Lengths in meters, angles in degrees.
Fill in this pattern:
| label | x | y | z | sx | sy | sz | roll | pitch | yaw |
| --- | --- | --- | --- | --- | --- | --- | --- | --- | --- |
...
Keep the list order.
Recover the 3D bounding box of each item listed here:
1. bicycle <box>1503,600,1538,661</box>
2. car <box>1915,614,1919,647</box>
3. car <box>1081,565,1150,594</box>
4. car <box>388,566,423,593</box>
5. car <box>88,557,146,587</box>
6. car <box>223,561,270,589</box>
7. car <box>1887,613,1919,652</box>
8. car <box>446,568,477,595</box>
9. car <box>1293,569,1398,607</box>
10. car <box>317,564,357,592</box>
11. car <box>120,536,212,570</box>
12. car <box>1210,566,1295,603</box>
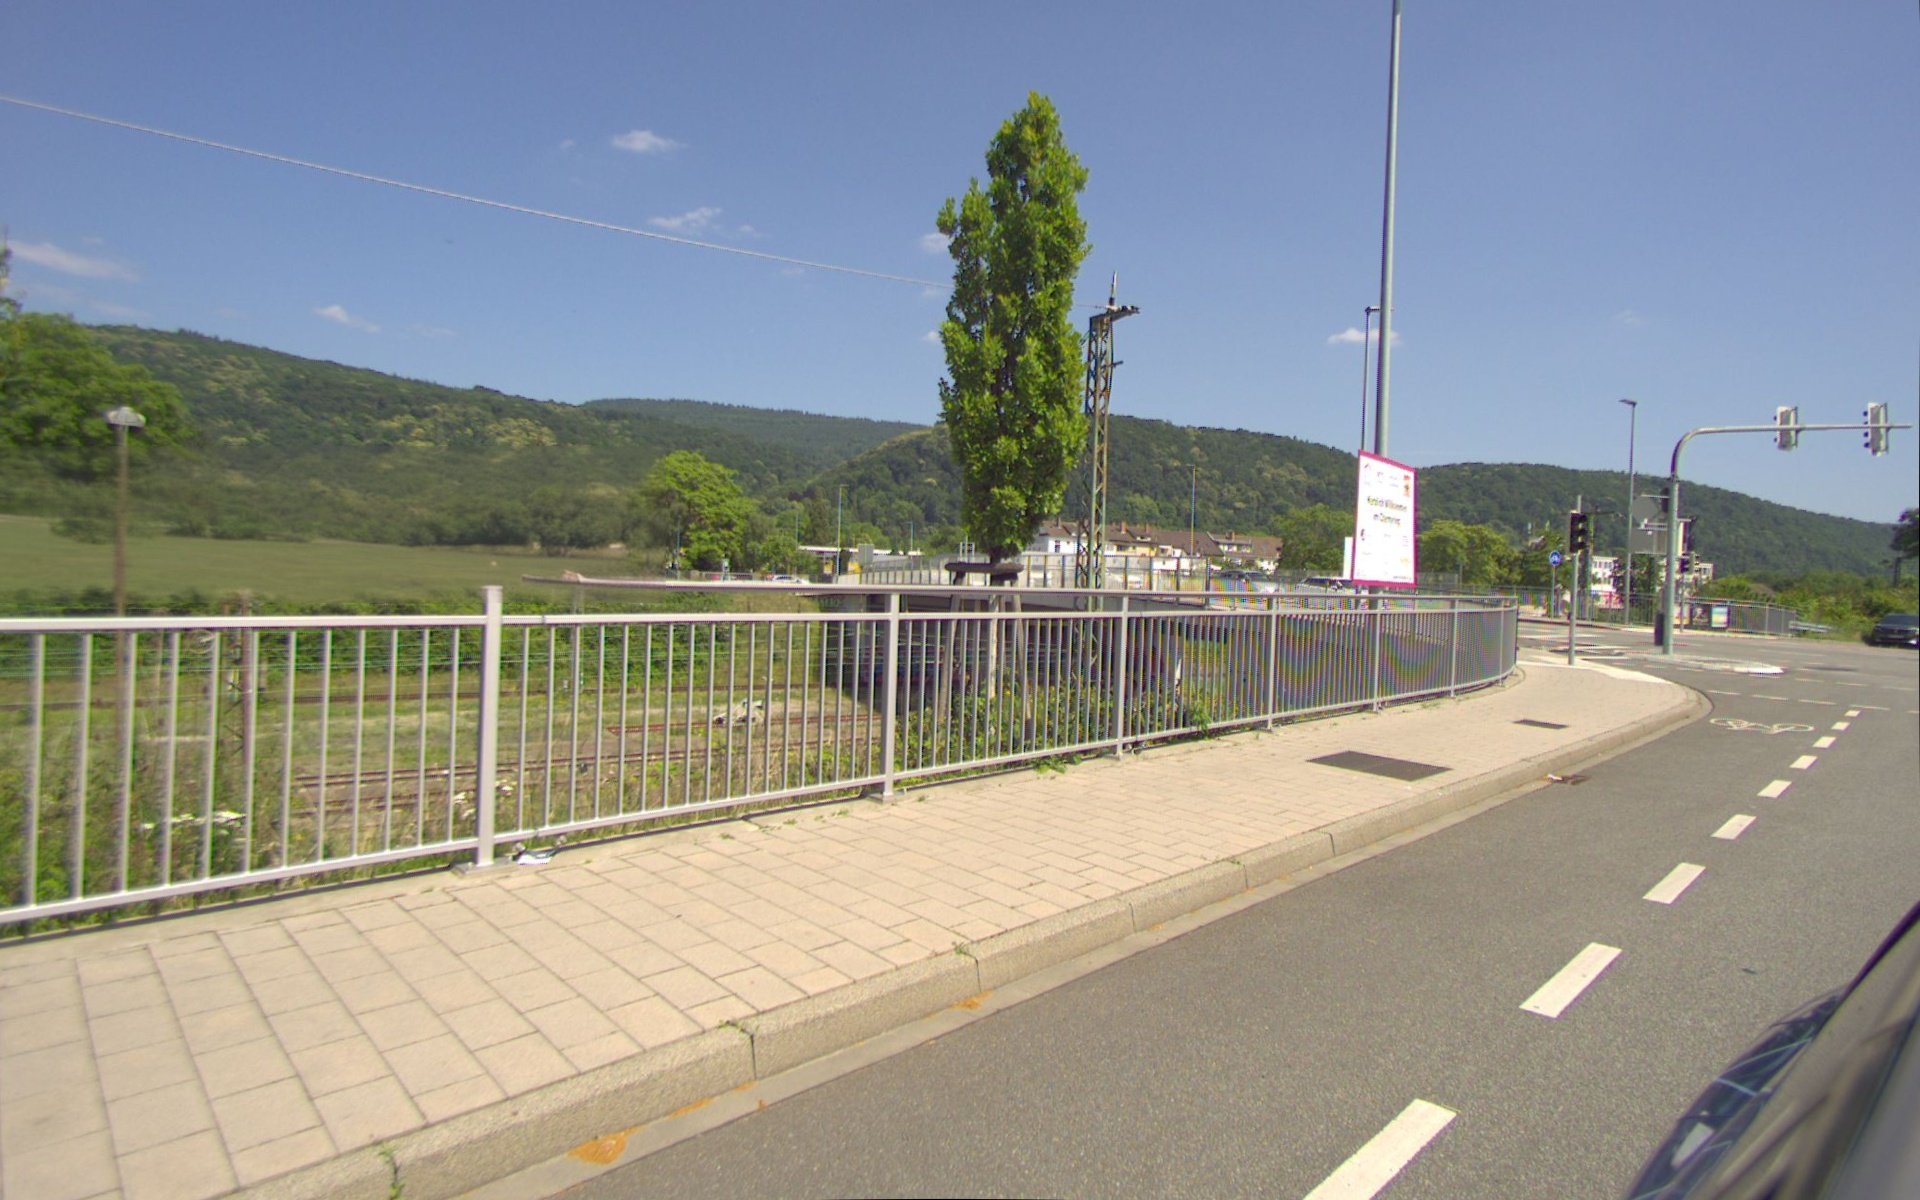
| label | x | y | z | sx | sy | sz | roll | pitch | yaw |
| --- | --- | --- | --- | --- | --- | --- | --- | --- | --- |
| bicycle | 11.000 | 0.580 | 19.895 | 0.294 | 1.114 | 1.610 | 2 | 1 | 20 |
| car | 46.970 | 1.500 | 48.116 | 3.927 | 1.552 | 1.672 | 1 | 2 | -39 |
| car | 9.275 | -1.253 | 60.716 | 1.702 | 1.646 | 4.448 | 1 | 2 | -30 |
| car | -44.156 | -1.655 | 80.644 | 1.958 | 2.038 | 4.480 | 1 | 1 | -23 |
| car | -61.448 | -2.079 | 73.858 | 1.958 | 2.038 | 4.480 | 1 | 1 | -23 |
| car | -54.930 | -1.960 | 78.006 | 1.958 | 2.038 | 4.480 | 1 | 1 | -23 |
| car | 42.962 | 1.439 | 45.120 | 4.161 | 1.647 | 1.829 | 1 | 2 | -40 |
| car | -40.350 | -1.557 | 81.975 | 1.958 | 2.038 | 4.480 | 1 | 1 | -23 |
| car | 16.518 | -0.557 | 43.579 | 1.700 | 1.487 | 4.421 | 1 | 2 | -20 |
| car | -48.605 | -1.768 | 79.058 | 1.958 | 2.038 | 4.480 | 1 | 1 | -23 |
| car | -55.082 | -3.276 | 70.255 | 4.902 | 2.139 | 1.998 | 1 | 2 | -40 |
| car | 14.356 | -0.797 | 49.938 | 1.700 | 1.646 | 4.453 | 1 | 1 | -20 |
